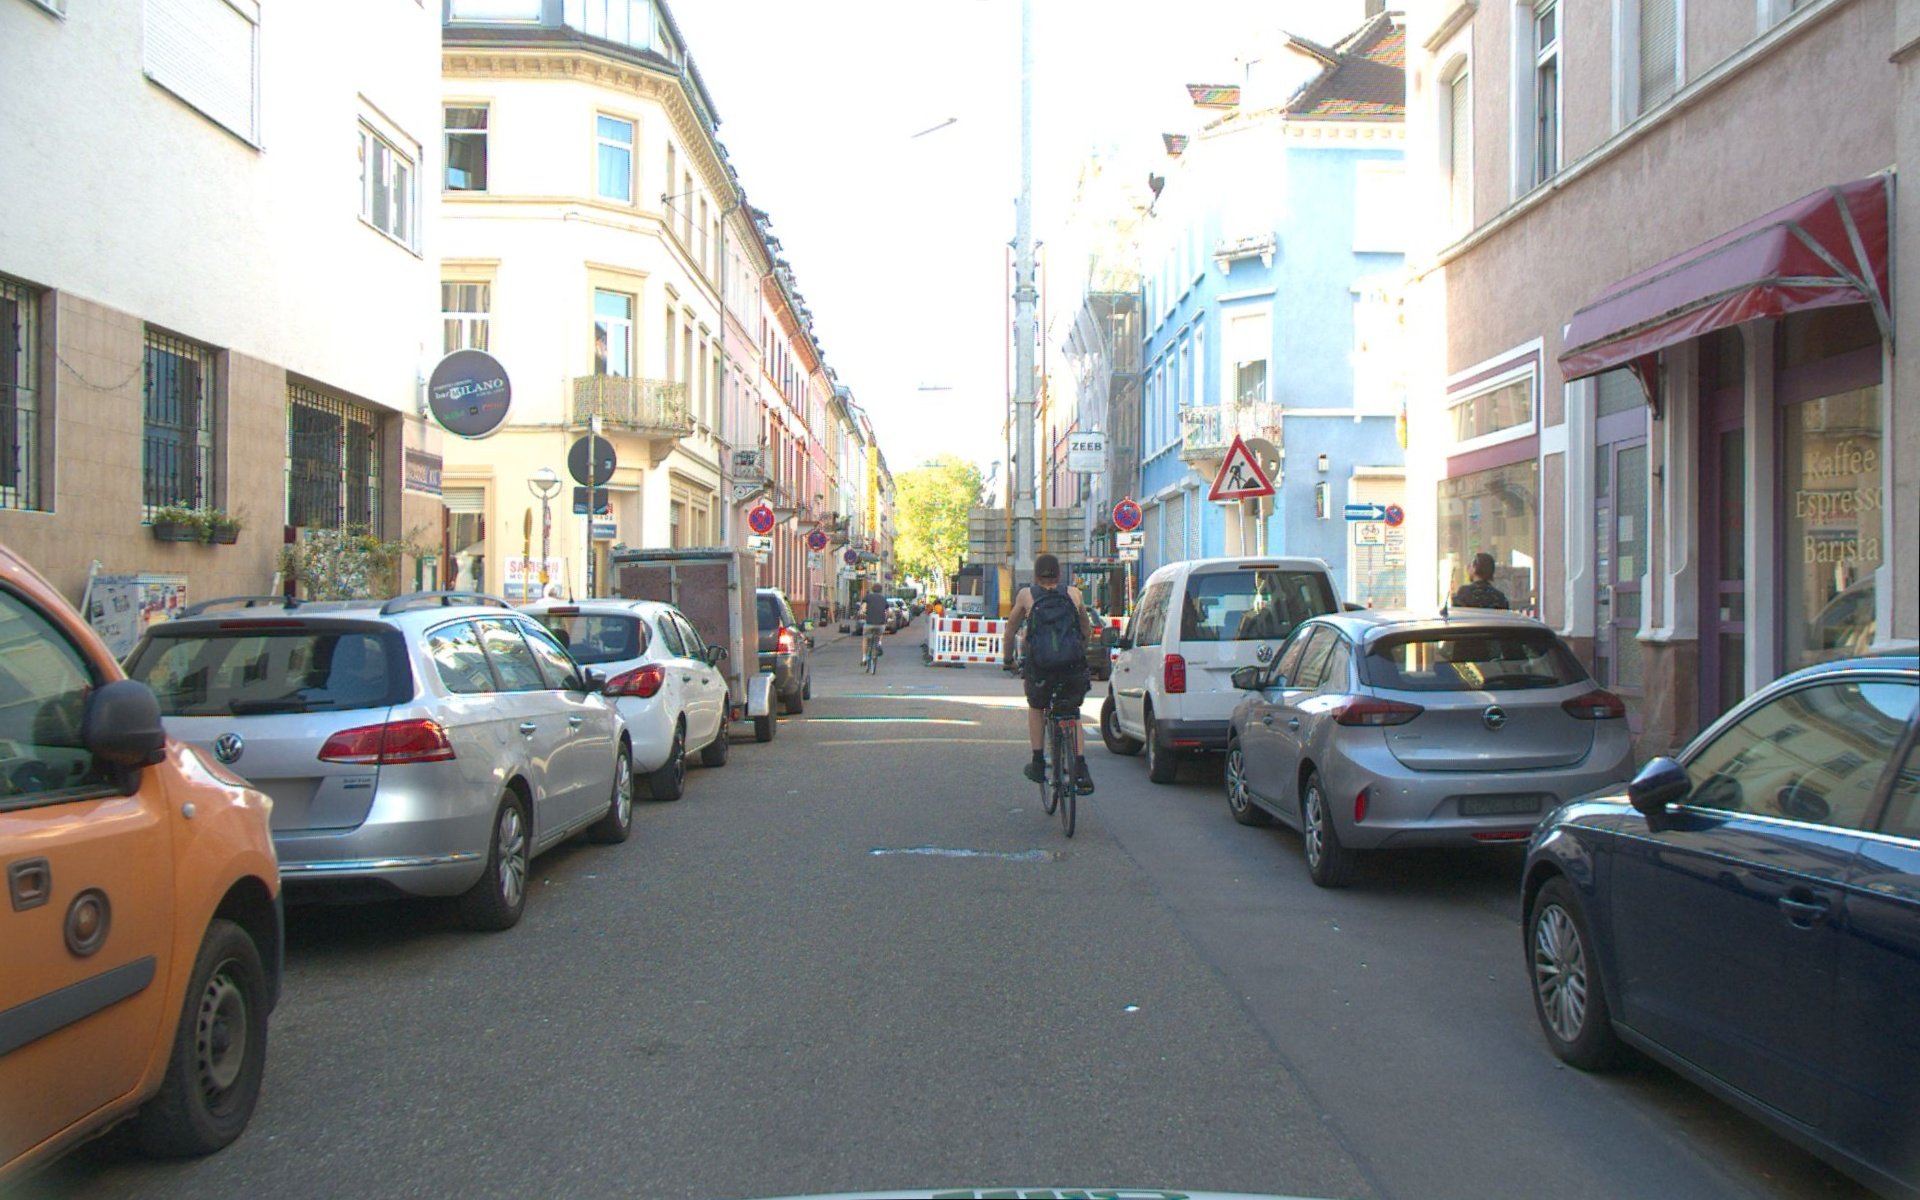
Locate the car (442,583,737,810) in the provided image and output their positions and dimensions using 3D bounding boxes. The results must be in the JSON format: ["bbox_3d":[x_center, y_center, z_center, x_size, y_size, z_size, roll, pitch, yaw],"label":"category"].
[{"bbox_3d":[-2.836,0.692,13.391,1.620,1.564,3.633,-1,-1,-1],"label":"car"}]

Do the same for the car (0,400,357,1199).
[{"bbox_3d":[-2.658,0.566,2.962,1.717,1.848,4.077,-2,-1,-2],"label":"car"}]

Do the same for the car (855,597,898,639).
[{"bbox_3d":[-3.567,0.774,71.544,1.714,1.713,3.795,-1,-1,-1],"label":"car"}]

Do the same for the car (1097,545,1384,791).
[{"bbox_3d":[2.382,0.550,15.019,1.715,1.911,3.970,-1,-1,-3],"label":"car"}]

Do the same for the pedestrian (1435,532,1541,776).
[{"bbox_3d":[4.593,0.462,14.422,0.631,2.049,0.763,1,-1,-1],"label":"pedestrian"}]

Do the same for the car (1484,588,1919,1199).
[{"bbox_3d":[2.801,0.738,4.087,1.613,1.500,3.970,-4,-1,-1],"label":"car"}]

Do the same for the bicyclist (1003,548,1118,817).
[{"bbox_3d":[0.659,0.534,11.151,0.654,1.706,1.097,1,-1,-1],"label":"bicyclist"}]

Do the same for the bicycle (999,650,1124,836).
[{"bbox_3d":[0.649,0.913,11.172,0.663,1.093,1.941,1,-1,-1],"label":"bicycle"}]

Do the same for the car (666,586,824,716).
[{"bbox_3d":[-2.842,0.657,22.579,1.714,1.600,3.795,-1,-1,-1],"label":"car"}]

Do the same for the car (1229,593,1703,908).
[{"bbox_3d":[2.773,0.752,9.961,1.714,1.513,3.799,-1,-1,1],"label":"car"}]

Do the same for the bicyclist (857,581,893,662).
[{"bbox_3d":[-1.687,0.431,33.063,0.657,1.595,0.716,1,-1,-1],"label":"bicyclist"}]

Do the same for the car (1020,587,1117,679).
[{"bbox_3d":[2.068,0.635,32.327,1.578,1.662,3.609,1,-1,-1],"label":"car"}]

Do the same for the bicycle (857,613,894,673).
[{"bbox_3d":[-1.681,0.836,33.026,0.635,1.149,2.135,1,-1,-1],"label":"bicycle"}]

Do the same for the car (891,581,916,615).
[{"bbox_3d":[-3.996,-0.096,117.775,1.714,2.358,3.795,-1,-1,-1],"label":"car"}]

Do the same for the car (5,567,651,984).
[{"bbox_3d":[-2.818,0.688,8.485,1.714,1.564,4.318,-1,-1,-1],"label":"car"}]

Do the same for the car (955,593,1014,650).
[{"bbox_3d":[0.686,0.621,48.659,1.578,1.587,3.609,1,-1,-1],"label":"car"}]

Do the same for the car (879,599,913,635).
[{"bbox_3d":[-3.405,0.901,88.558,1.714,1.853,3.795,-1,-1,-1],"label":"car"}]

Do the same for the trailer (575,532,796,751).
[{"bbox_3d":[-2.880,0.421,18.137,1.843,2.129,3.736,-1,-1,-1],"label":"trailer"}]
